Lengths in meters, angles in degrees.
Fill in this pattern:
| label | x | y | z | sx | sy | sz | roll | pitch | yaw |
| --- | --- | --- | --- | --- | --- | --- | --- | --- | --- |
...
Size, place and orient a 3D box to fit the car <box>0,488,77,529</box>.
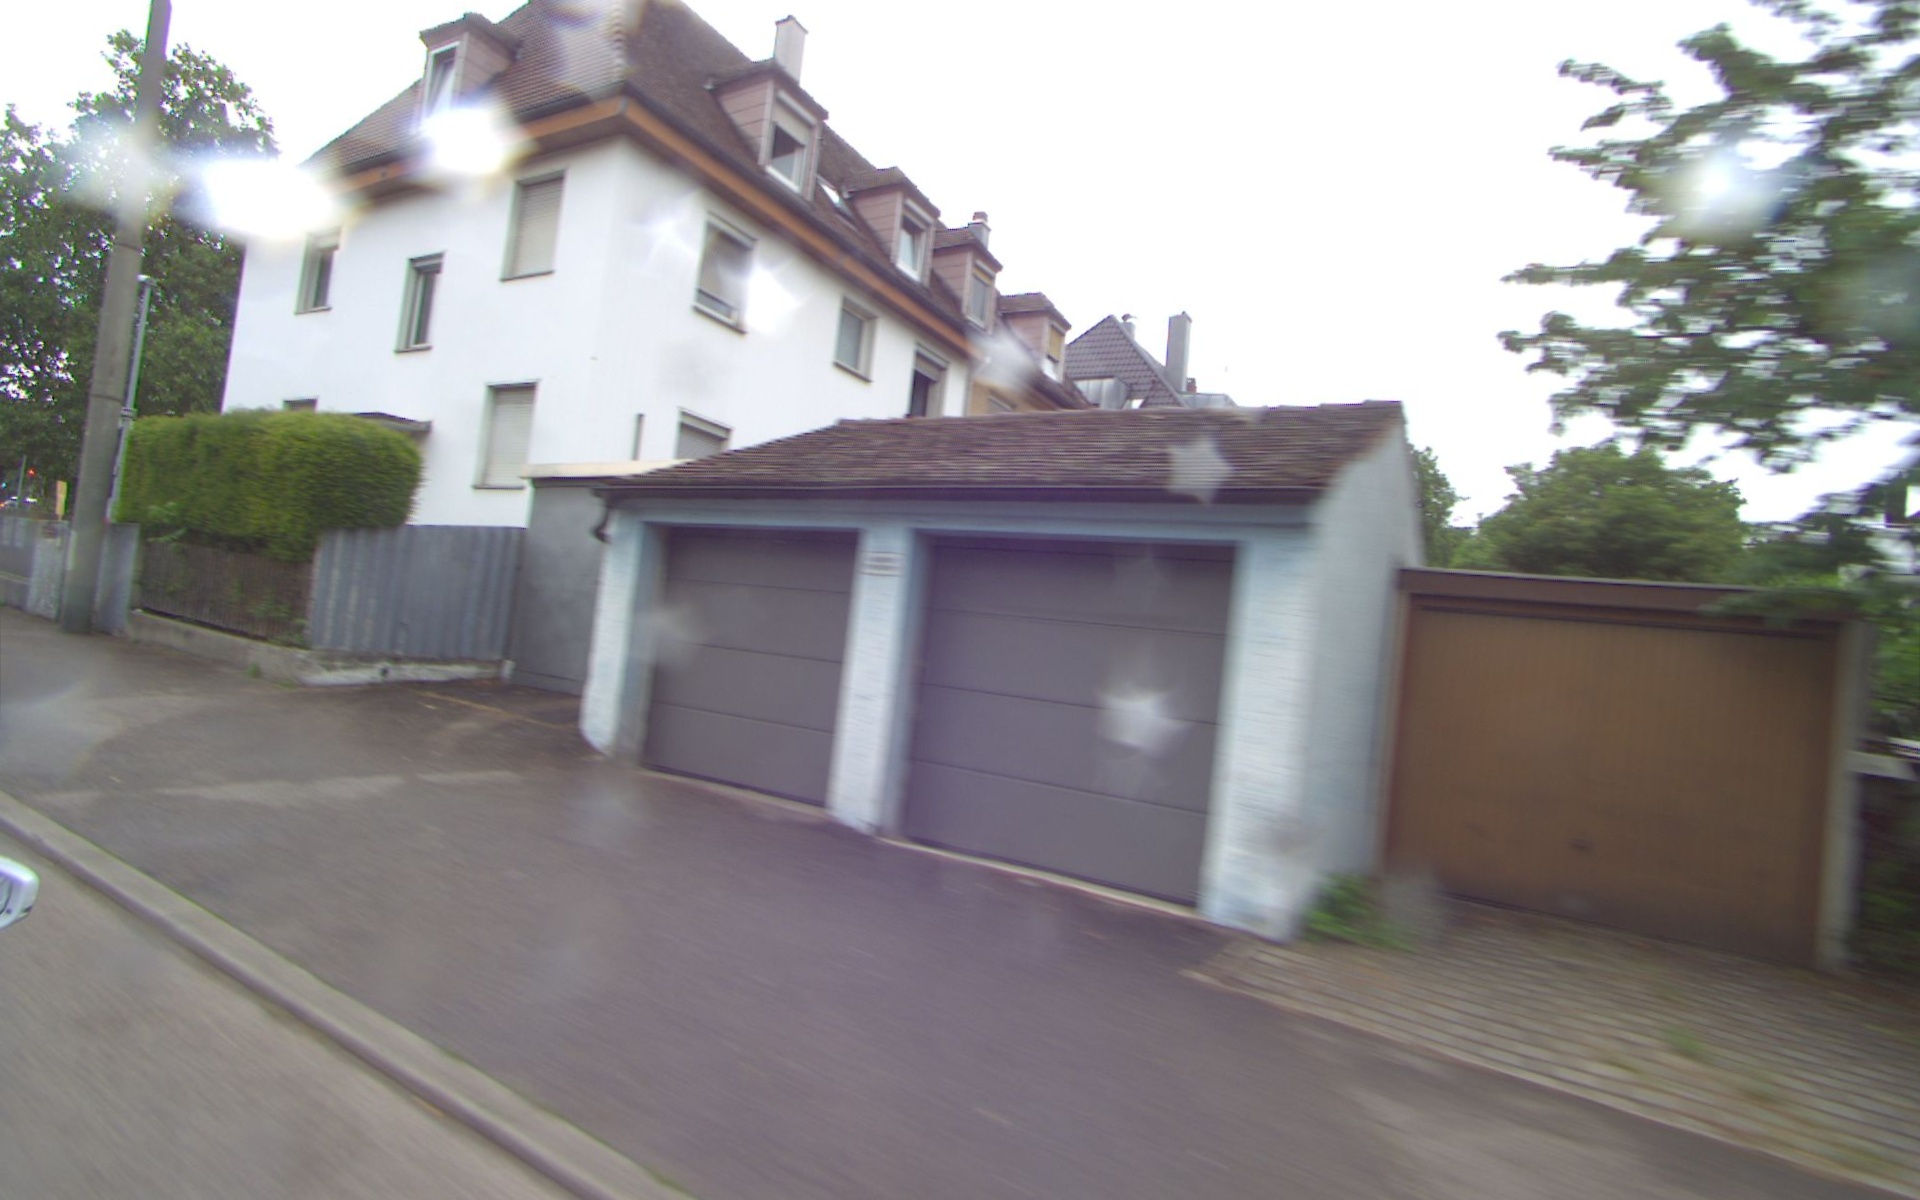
| label | x | y | z | sx | sy | sz | roll | pitch | yaw |
| --- | --- | --- | --- | --- | --- | --- | --- | --- | --- |
| car | -48.778 | -4.811 | 53.072 | 1.974 | 1.567 | 3.980 | 8 | -2 | -23 |
